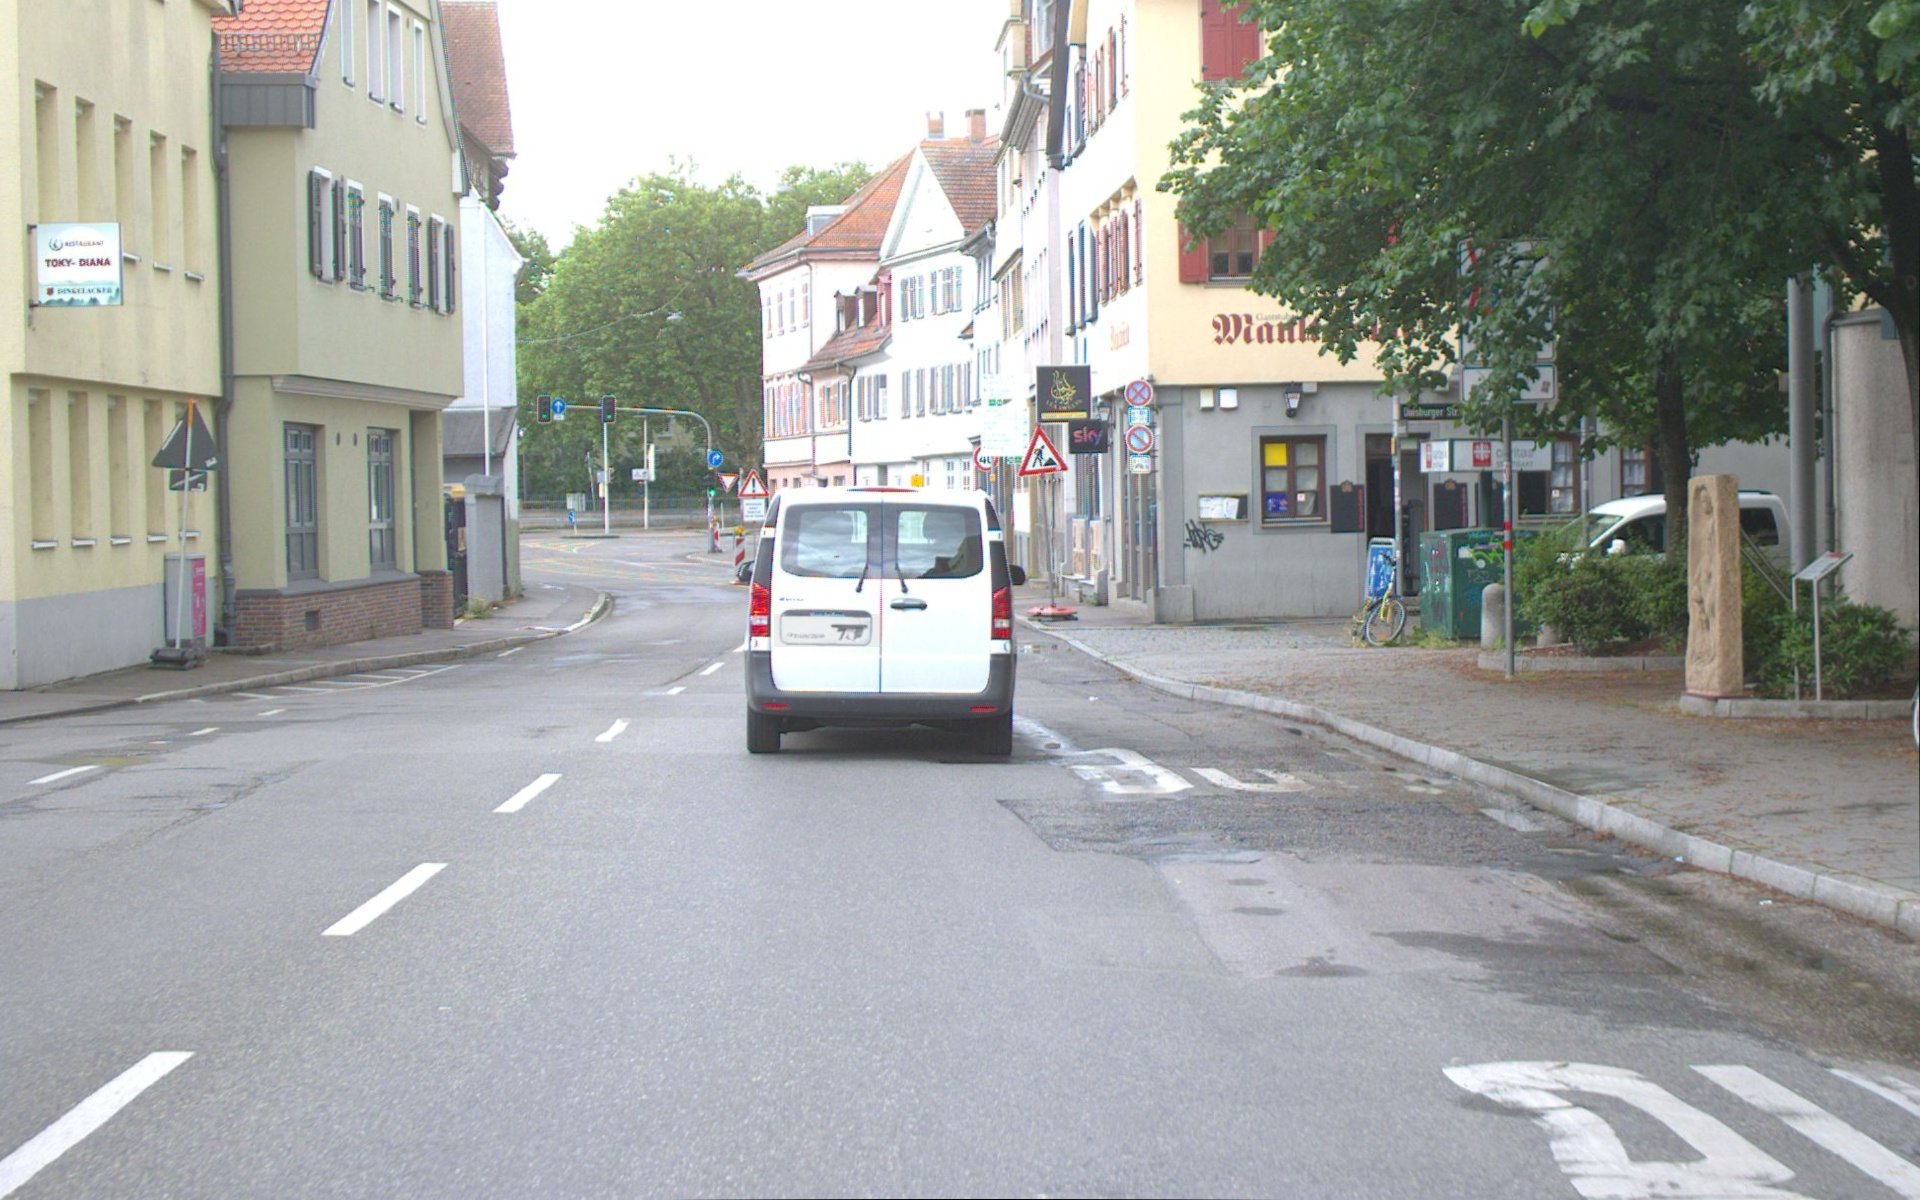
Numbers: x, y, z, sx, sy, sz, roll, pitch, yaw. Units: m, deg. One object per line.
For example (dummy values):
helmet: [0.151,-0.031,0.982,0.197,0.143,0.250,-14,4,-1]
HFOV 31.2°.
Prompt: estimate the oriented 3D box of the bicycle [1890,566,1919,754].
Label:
bicycle: [6.016,0.374,20.484,0.333,1.137,1.959,0,1,-2]

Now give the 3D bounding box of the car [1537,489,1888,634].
car: [10.132,-0.544,46.415,4.240,1.791,1.849,-1,3,-10]

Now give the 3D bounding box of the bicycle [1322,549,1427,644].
bicycle: [4.940,-0.051,41.080,0.499,1.102,1.639,-2,1,-21]

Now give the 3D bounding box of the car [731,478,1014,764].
car: [-0.596,0.085,25.150,1.872,1.905,4.000,-1,2,0]
